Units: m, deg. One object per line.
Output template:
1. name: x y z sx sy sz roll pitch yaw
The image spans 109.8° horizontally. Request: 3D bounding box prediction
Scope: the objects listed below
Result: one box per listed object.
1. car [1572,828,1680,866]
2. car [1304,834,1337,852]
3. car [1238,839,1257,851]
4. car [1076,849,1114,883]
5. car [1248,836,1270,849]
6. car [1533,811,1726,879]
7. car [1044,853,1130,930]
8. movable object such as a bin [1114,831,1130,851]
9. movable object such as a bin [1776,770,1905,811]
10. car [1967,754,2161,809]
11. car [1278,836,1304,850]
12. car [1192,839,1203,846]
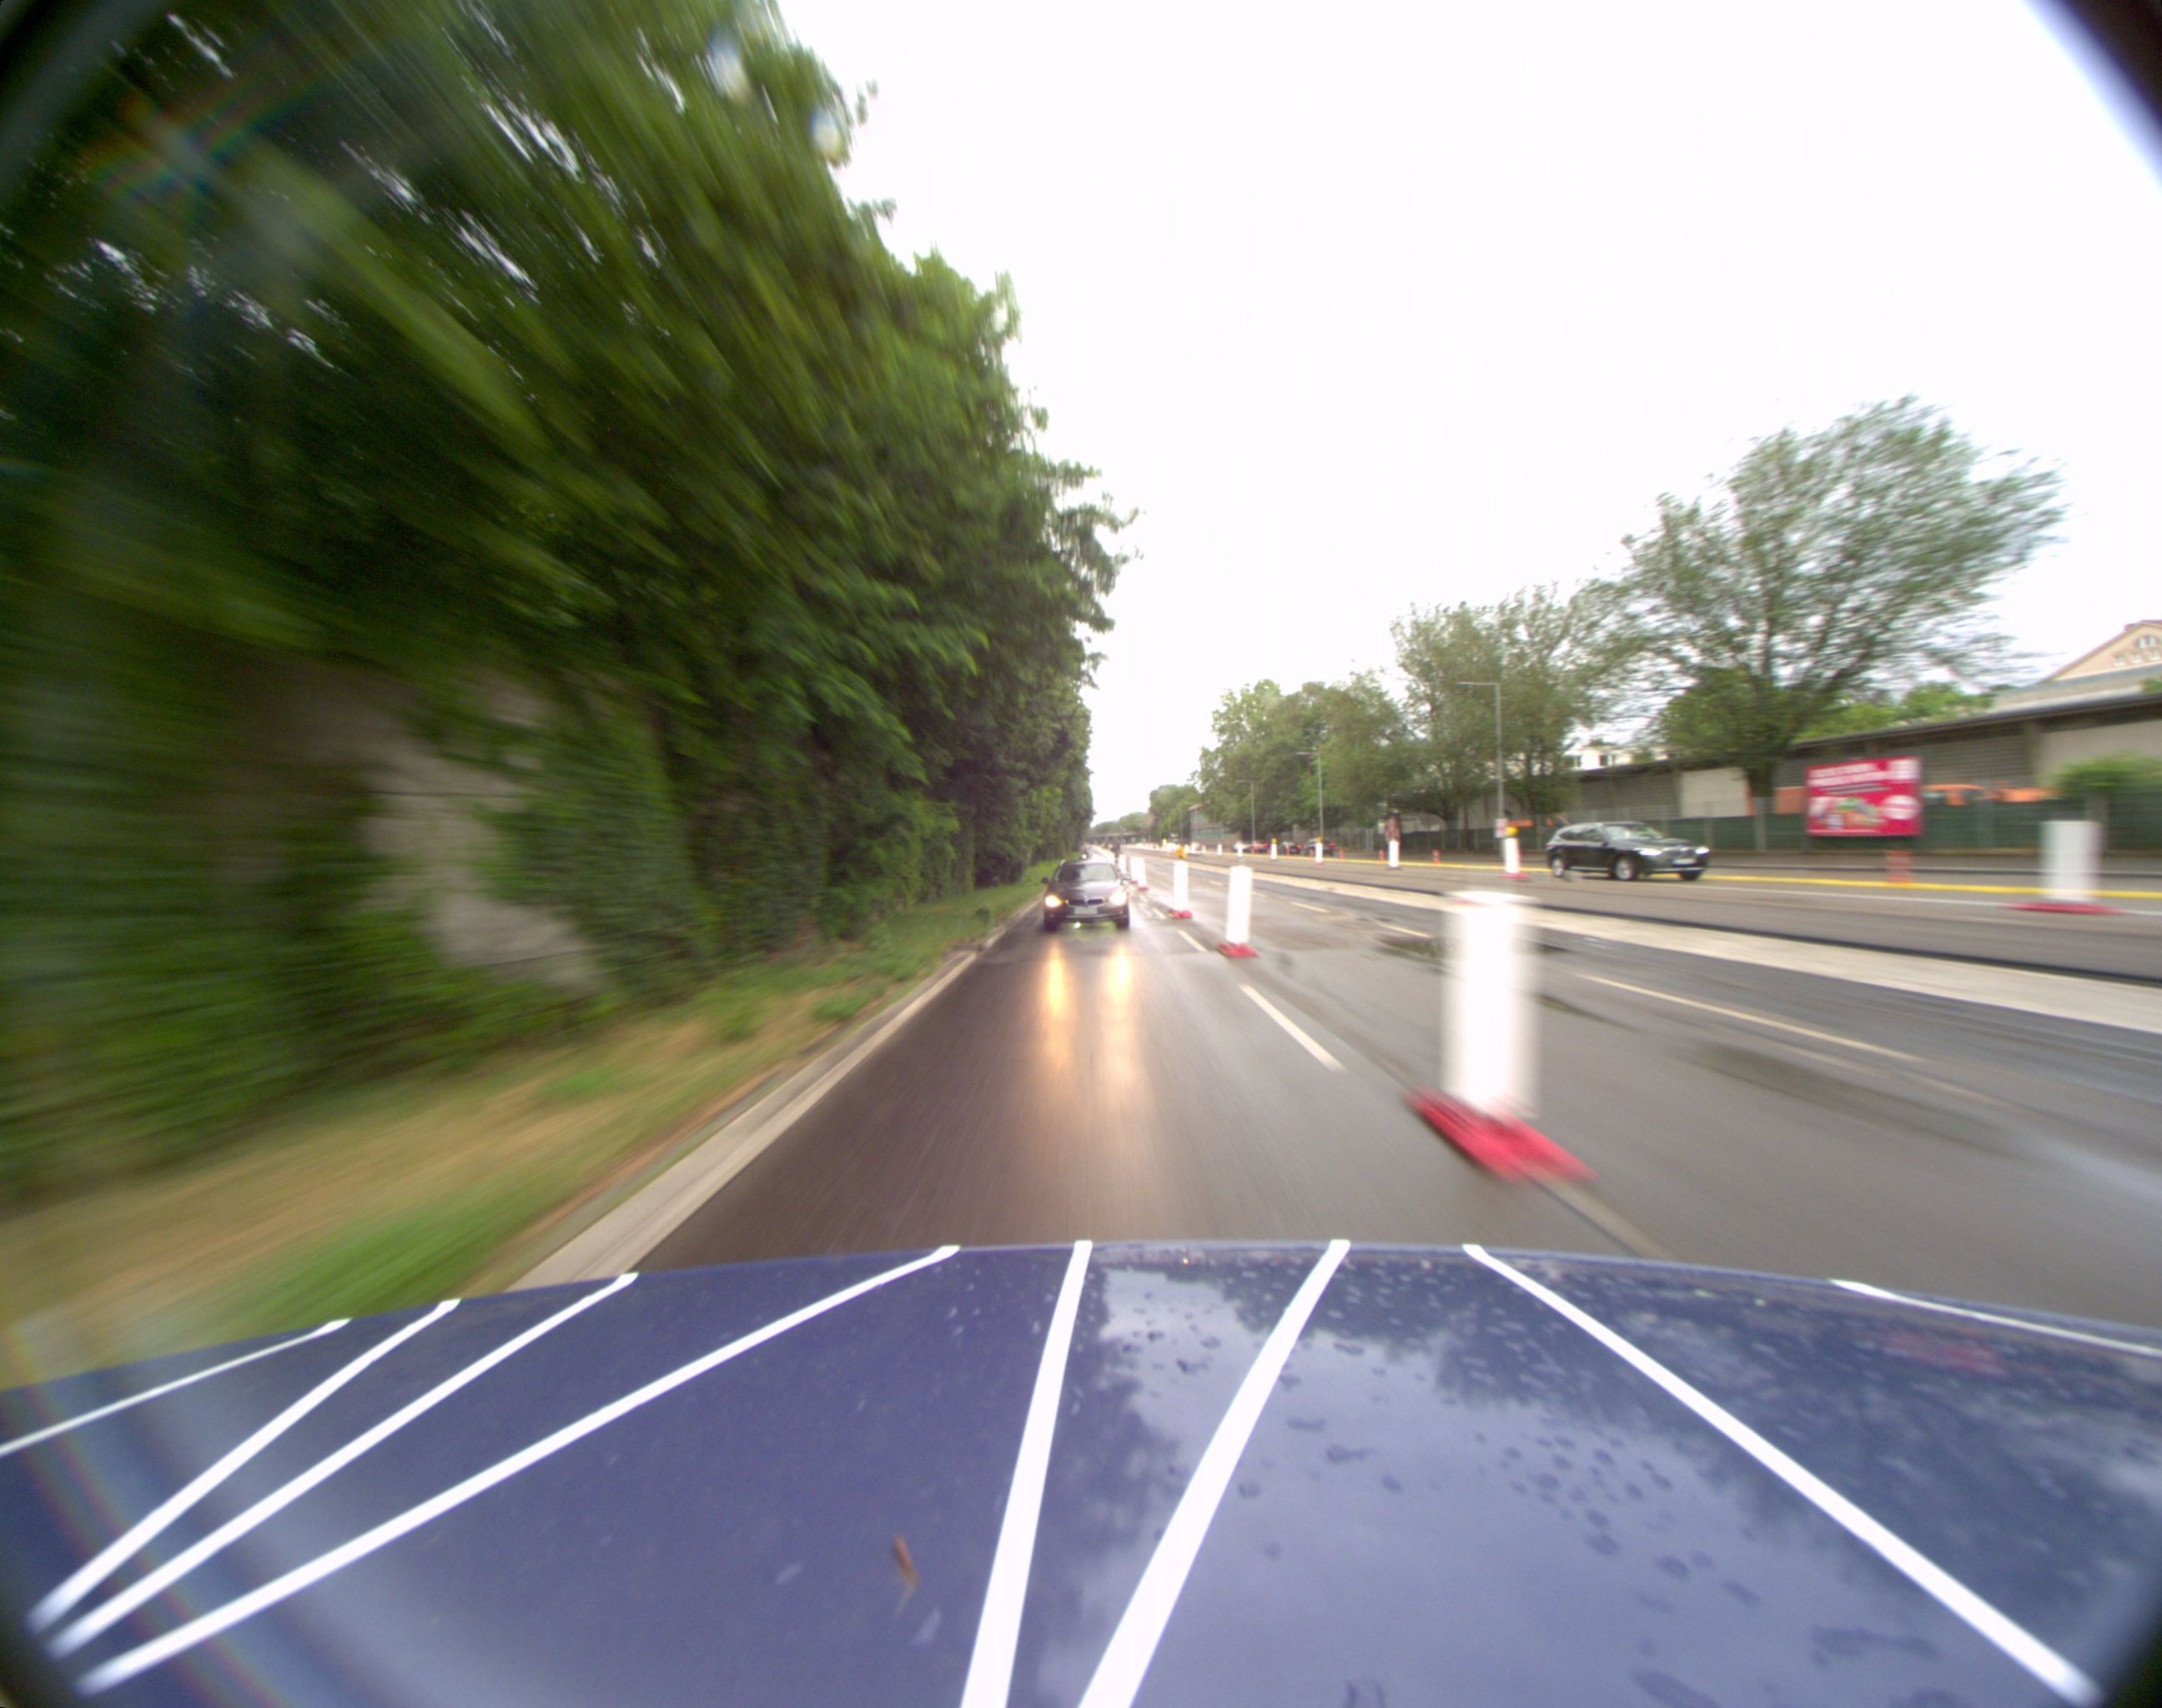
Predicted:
1. car: 21.234 -0.295 29.797 1.557 1.360 3.804 -1 1 0
2. car: 22.138 -1.043 70.379 1.863 1.621 4.328 -1 1 1
3. car: 23.517 -1.289 107.312 1.863 1.696 4.364 -1 1 1
4. car: 0.723 0.544 38.284 1.742 1.454 4.457 -3 1 1
5. car: 22.267 -1.439 95.142 1.863 1.610 4.364 -1 1 1
6. car: 15.342 -0.249 21.698 1.998 1.696 4.984 0 0 2
7. car: 0.170 0.785 18.264 1.742 1.454 4.457 -3 1 1
8. movable object such as a bin: 6.642 -2.070 123.214 1.999 3.084 5.622 -3 1 -2
9. movable object such as a bin: 34.141 -2.812 34.277 4.012 1.519 1.756 -2 1 44
10. car: 34.106 -2.462 26.390 4.012 1.519 2.004 -2 1 39
11. car: 22.586 -1.186 82.000 1.863 1.467 3.731 -1 1 1
12. car: 23.752 -2.349 155.206 1.671 1.308 4.454 -1 1 2
